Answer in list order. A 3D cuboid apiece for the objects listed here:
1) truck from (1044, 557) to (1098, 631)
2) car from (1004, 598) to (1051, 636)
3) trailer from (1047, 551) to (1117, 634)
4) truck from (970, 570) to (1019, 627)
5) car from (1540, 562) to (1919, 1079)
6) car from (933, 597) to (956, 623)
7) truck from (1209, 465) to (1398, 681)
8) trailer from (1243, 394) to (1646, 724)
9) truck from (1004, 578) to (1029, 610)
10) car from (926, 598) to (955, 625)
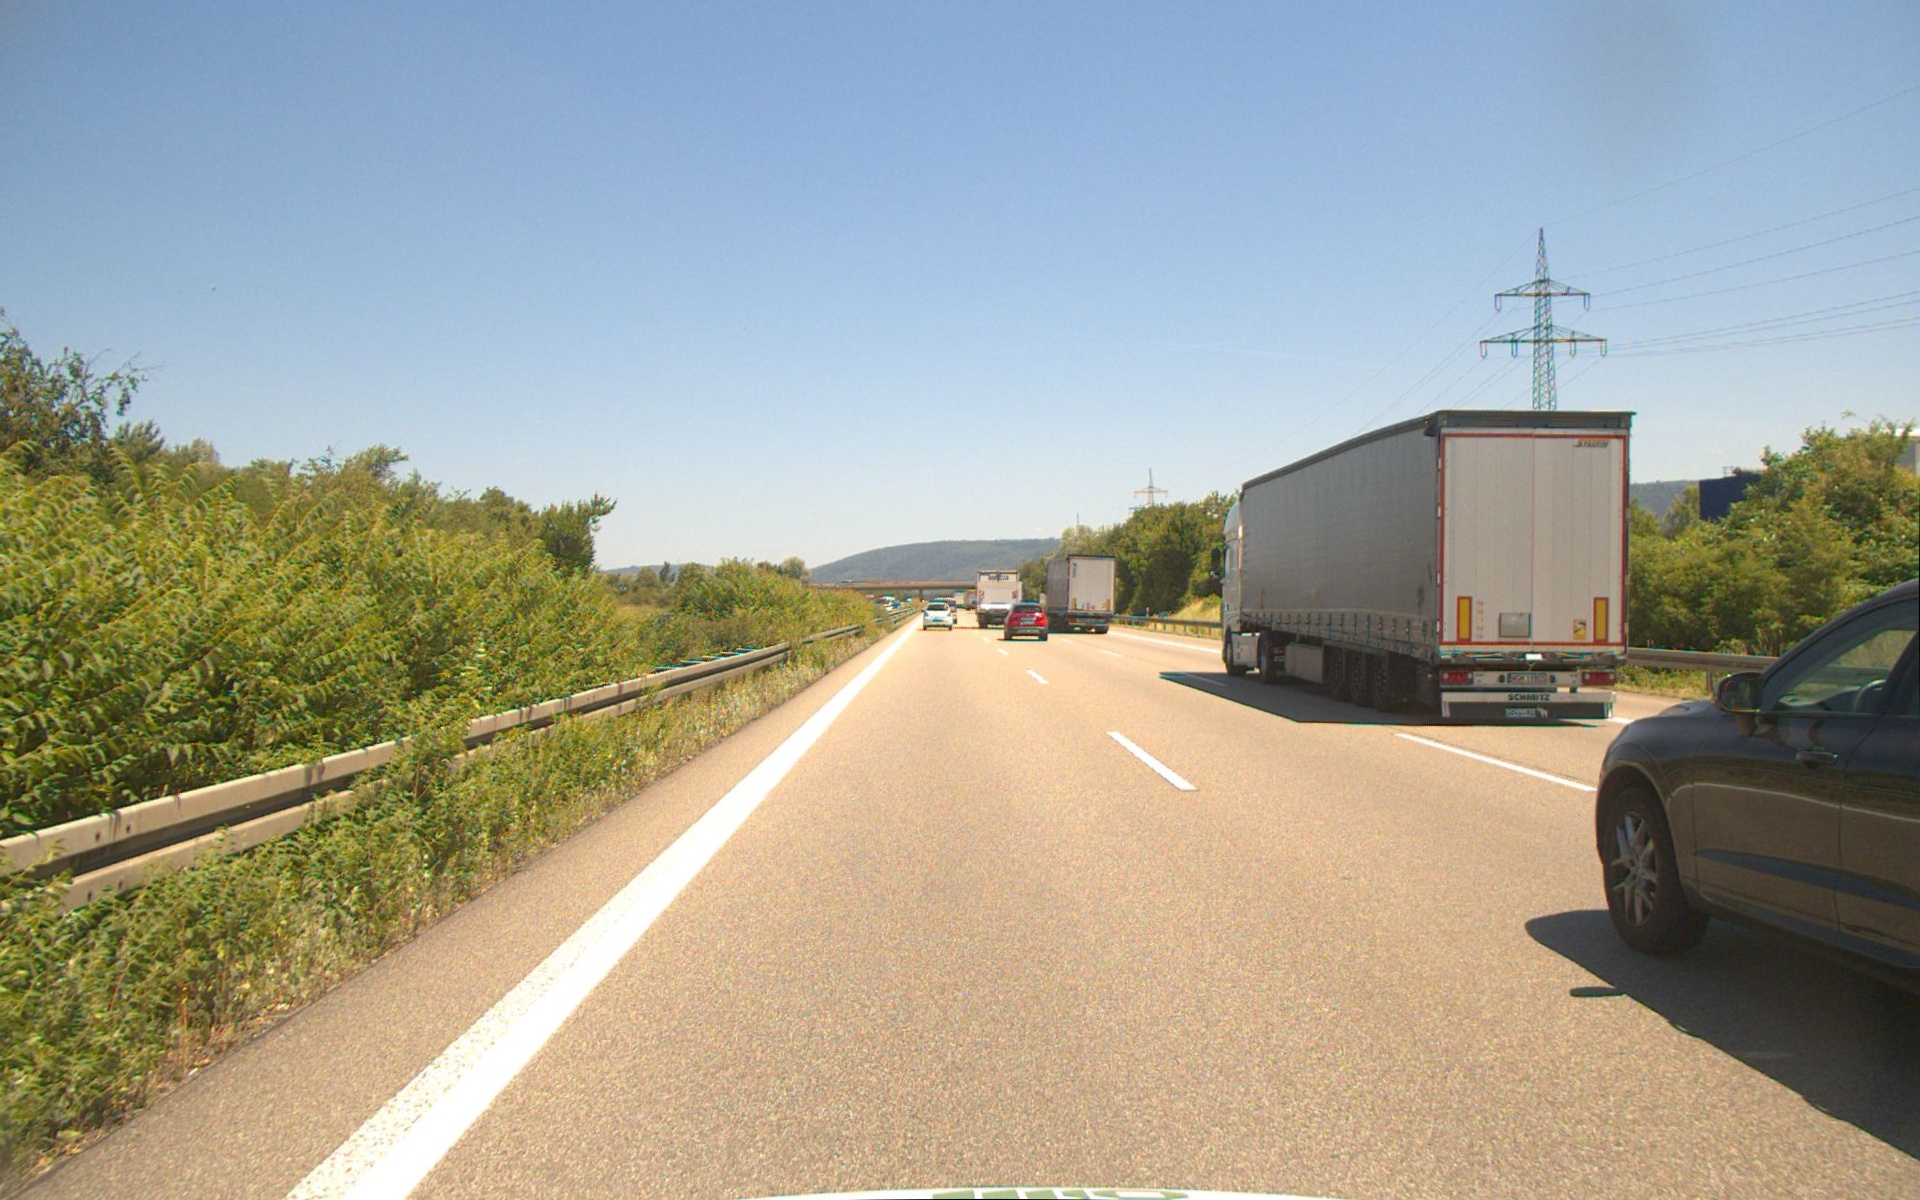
[{"bbox_3d":[6.606,-0.349,98.908,2.738,4.237,5.721,-1,0,0],"label":"truck"},{"bbox_3d":[2.854,0.695,70.456,1.766,1.572,3.999,0,0,-1],"label":"car"},{"bbox_3d":[6.646,-0.362,92.014,2.732,4.237,13.572,-1,0,0],"label":"trailer"},{"bbox_3d":[2.115,-0.085,103.720,2.726,3.432,8.125,0,0,-1],"label":"truck"},{"bbox_3d":[3.959,0.708,6.582,1.835,1.652,4.003,0,0,-1],"label":"car"},{"bbox_3d":[-1.205,0.734,124.922,1.725,1.883,3.999,0,0,-1],"label":"car"},{"bbox_3d":[7.173,-0.520,35.348,2.680,4.192,6.123,0,0,-1],"label":"truck"},{"bbox_3d":[7.284,-0.506,27.553,2.680,4.178,13.119,0,0,-1],"label":"trailer"},{"bbox_3d":[6.082,-0.661,178.480,2.176,3.265,10.382,-1,0,-1],"label":"truck"},{"bbox_3d":[-1.120,0.658,93.813,1.574,1.493,3.999,0,0,-1],"label":"car"}]
